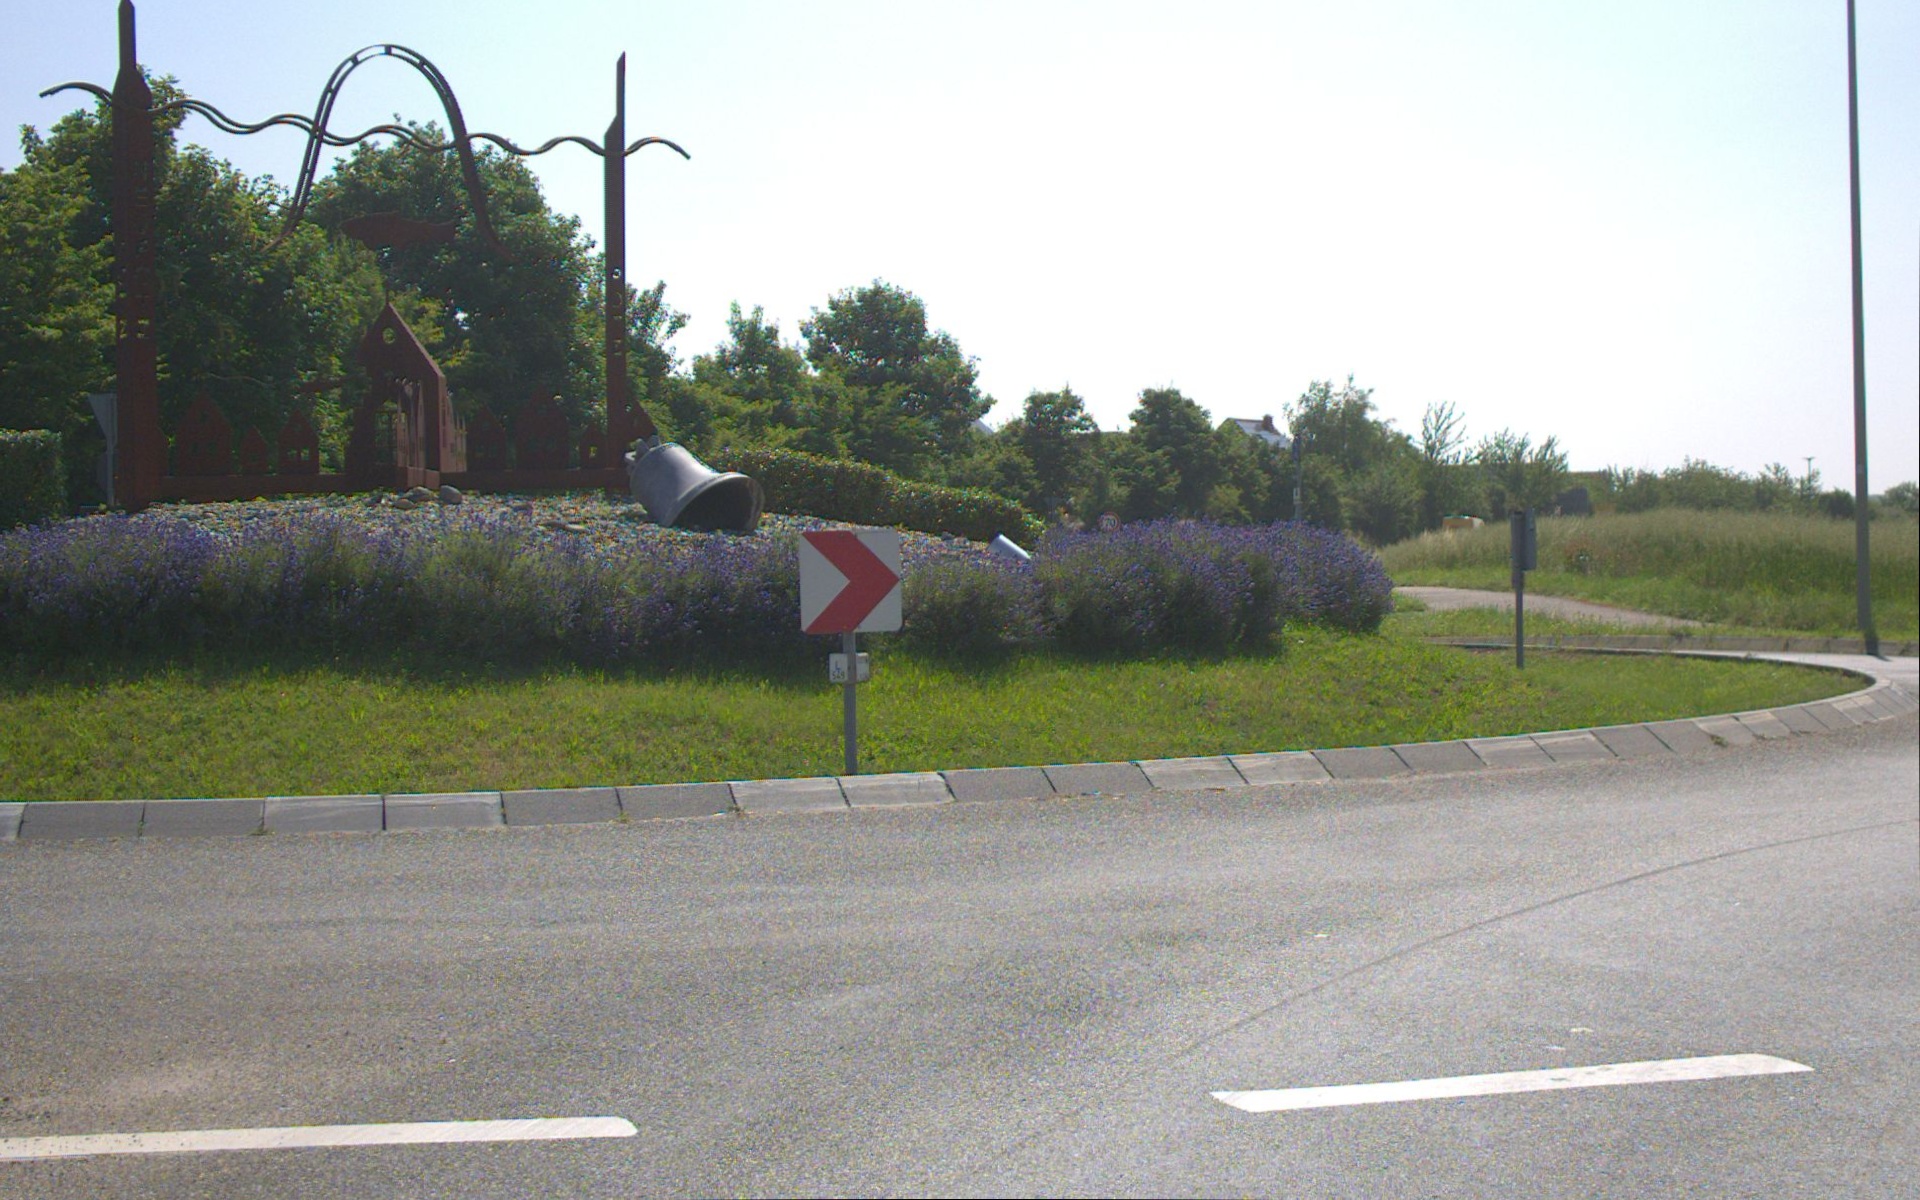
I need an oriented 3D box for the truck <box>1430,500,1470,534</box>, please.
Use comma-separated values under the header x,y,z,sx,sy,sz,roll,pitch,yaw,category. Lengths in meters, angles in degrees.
x,y,z,sx,sy,sz,roll,pitch,yaw,category
29.396,-5.012,206.284,1.995,2.007,3.998,0,1,14,truck
